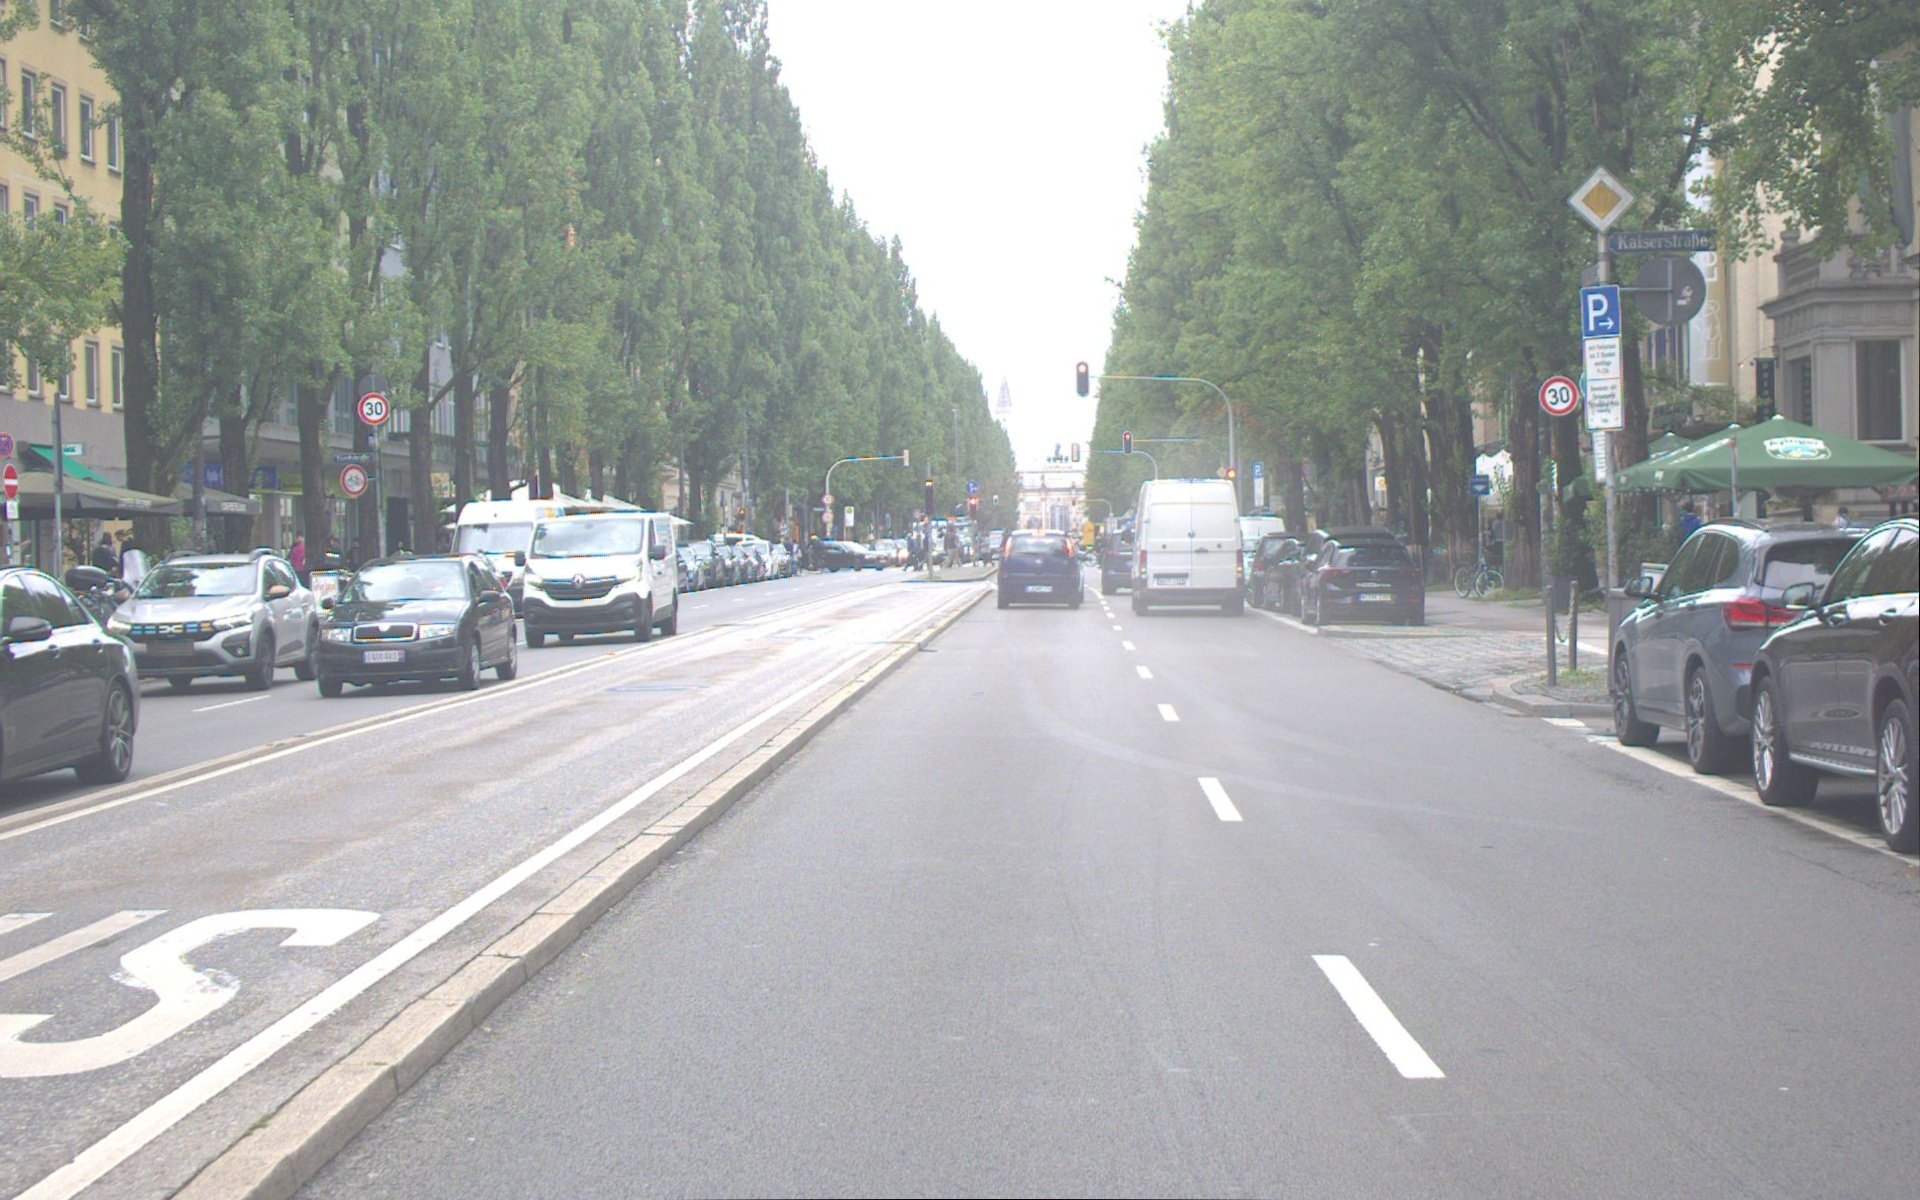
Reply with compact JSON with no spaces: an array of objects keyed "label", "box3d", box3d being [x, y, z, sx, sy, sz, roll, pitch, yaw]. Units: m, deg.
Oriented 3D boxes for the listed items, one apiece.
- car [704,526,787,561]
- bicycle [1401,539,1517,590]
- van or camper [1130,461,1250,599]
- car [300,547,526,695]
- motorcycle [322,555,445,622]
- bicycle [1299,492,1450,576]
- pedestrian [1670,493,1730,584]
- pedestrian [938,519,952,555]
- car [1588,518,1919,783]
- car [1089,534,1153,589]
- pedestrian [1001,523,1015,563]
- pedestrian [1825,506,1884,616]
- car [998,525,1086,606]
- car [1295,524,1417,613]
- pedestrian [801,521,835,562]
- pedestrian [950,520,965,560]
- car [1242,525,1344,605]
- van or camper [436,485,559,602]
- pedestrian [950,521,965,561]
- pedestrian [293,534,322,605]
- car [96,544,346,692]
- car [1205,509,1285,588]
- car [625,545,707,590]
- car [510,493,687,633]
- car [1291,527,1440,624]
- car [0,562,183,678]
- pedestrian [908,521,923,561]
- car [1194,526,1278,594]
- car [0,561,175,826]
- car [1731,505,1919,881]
[{"label":"car","box3d":[-10.593,-2.787,169.871,3.986,1.739,2.000,0,0,-6]},{"label":"bicycle","box3d":[10.368,-0.735,71.524,0.759,1.020,2.734,-2,1,-33]},{"label":"van or camper","box3d":[4.303,-1.282,64.826,2.034,2.467,4.000,-1,0,1]},{"label":"car","box3d":[-5.721,0.183,36.340,1.711,1.409,3.723,-2,1,1]},{"label":"motorcycle","box3d":[-10.498,-0.229,62.804,1.238,1.136,3.716,-1,1,6]},{"label":"bicycle","box3d":[10.015,-1.591,82.998,3.550,2.007,1.296,0,0,11]},{"label":"pedestrian","box3d":[14.666,-1.221,68.125,0.814,1.749,0.931,-1,1,34]},{"label":"pedestrian","box3d":[-0.823,-3.450,188.423,0.770,2.007,0.897,0,0,1]},{"label":"car","box3d":[5.371,0.252,22.825,1.623,1.560,4.371,-1,1,1]},{"label":"car","box3d":[4.023,-0.975,86.222,1.504,1.308,3.283,-1,1,1]},{"label":"pedestrian","box3d":[2.079,-2.490,149.642,0.553,1.710,0.493,-2,1,2]},{"label":"pedestrian","box3d":[15.241,-0.663,58.598,0.760,1.847,0.740,-2,1,-1]},{"label":"car","box3d":[1.706,-0.707,70.784,1.759,1.614,3.747,0,0,2]},{"label":"car","box3d":[7.079,-0.591,61.733,1.785,1.519,3.940,-1,1,1]},{"label":"pedestrian","box3d":[-6.765,-2.804,163.742,1.137,1.910,1.153,-2,1,-30]},{"label":"pedestrian","box3d":[-0.111,-2.608,149.831,0.553,1.710,0.493,-2,1,2]},{"label":"car","box3d":[6.847,-0.715,71.022,1.805,1.590,4.000,0,0,1]},{"label":"van or camper","box3d":[-10.091,-1.254,75.295,1.993,2.450,4.251,-1,1,1]},{"label":"pedestrian","box3d":[-0.098,-2.543,147.984,0.553,1.710,0.493,-2,1,2]},{"label":"pedestrian","box3d":[-17.078,-0.803,90.042,0.582,1.850,0.675,-1,1,1]},{"label":"car","box3d":[-8.310,0.183,38.991,1.825,1.527,4.000,-2,0,1]},{"label":"car","box3d":[7.316,-1.311,88.450,1.805,1.985,4.000,0,0,1]},{"label":"car","box3d":[-9.404,-1.049,110.278,1.994,1.415,3.999,0,0,5]},{"label":"car","box3d":[-5.466,-0.562,52.574,1.993,1.927,4.918,-3,0,1]},{"label":"car","box3d":[6.553,-0.423,55.909,1.944,1.462,4.000,-2,1,0]},{"label":"car","box3d":[-10.983,0.227,43.467,1.512,1.340,3.237,-2,1,1]},{"label":"pedestrian","box3d":[-1.930,-2.549,148.312,0.553,1.710,0.493,-2,1,2]},{"label":"car","box3d":[6.588,-0.952,82.434,1.762,1.590,4.000,0,0,1]},{"label":"car","box3d":[-6.334,0.547,20.704,1.993,1.427,4.772,-2,1,1]},{"label":"car","box3d":[5.228,0.334,17.245,1.881,1.636,4.583,-1,1,3]}]
